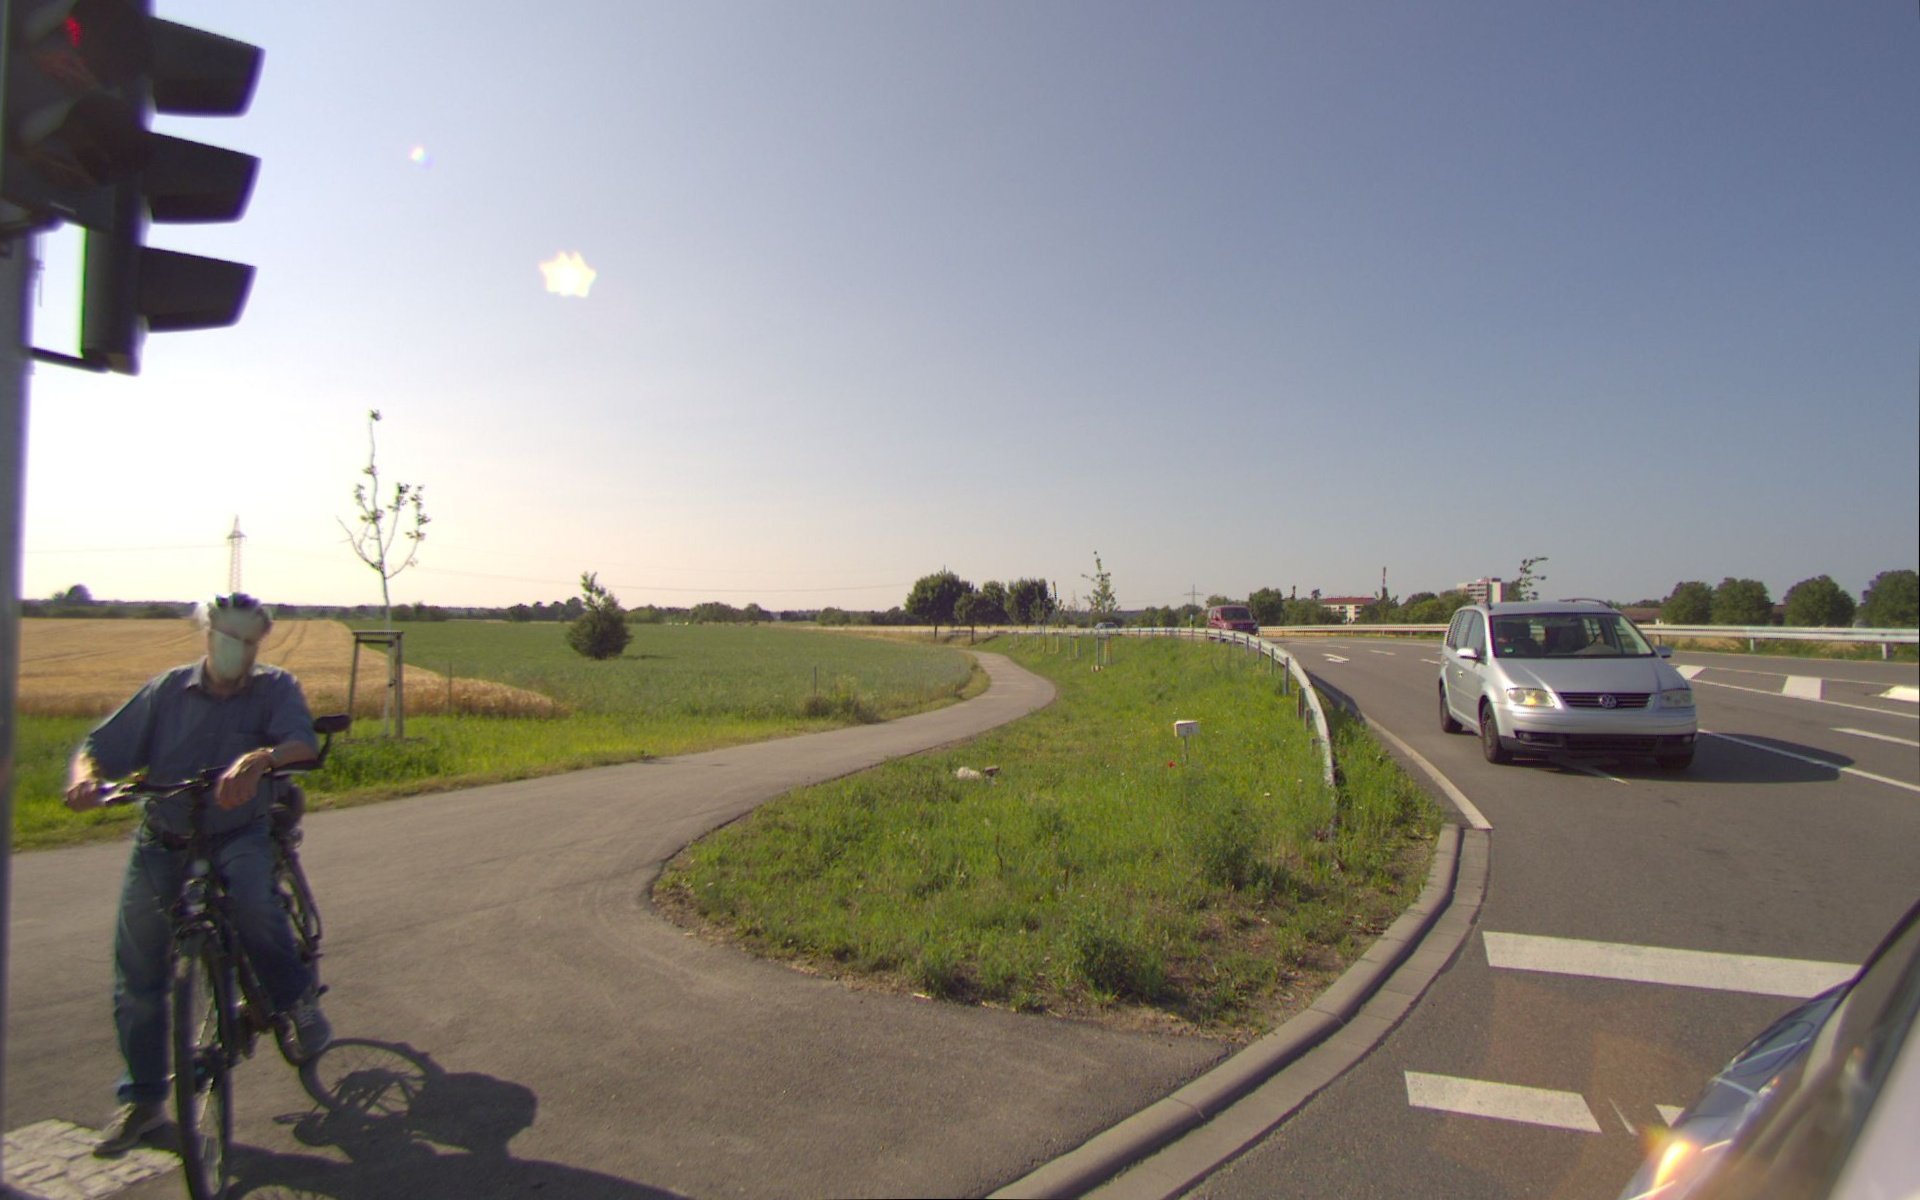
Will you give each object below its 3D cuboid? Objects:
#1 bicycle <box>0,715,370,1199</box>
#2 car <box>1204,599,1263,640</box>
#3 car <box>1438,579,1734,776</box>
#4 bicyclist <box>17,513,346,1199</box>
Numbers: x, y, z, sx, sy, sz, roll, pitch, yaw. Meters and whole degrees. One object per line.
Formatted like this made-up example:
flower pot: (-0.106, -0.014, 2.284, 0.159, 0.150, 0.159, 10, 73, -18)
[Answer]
bicycle: (-2.260, 0.993, 3.090, 0.667, 1.166, 1.947, -1, -3, -27)
car: (13.104, 0.942, 48.683, 1.662, 1.861, 4.695, 0, -1, 2)
car: (6.538, 0.702, 11.116, 1.733, 1.717, 4.190, -1, -1, 18)
bicyclist: (-2.242, 0.698, 3.030, 0.607, 1.789, 0.918, -1, -4, -27)
